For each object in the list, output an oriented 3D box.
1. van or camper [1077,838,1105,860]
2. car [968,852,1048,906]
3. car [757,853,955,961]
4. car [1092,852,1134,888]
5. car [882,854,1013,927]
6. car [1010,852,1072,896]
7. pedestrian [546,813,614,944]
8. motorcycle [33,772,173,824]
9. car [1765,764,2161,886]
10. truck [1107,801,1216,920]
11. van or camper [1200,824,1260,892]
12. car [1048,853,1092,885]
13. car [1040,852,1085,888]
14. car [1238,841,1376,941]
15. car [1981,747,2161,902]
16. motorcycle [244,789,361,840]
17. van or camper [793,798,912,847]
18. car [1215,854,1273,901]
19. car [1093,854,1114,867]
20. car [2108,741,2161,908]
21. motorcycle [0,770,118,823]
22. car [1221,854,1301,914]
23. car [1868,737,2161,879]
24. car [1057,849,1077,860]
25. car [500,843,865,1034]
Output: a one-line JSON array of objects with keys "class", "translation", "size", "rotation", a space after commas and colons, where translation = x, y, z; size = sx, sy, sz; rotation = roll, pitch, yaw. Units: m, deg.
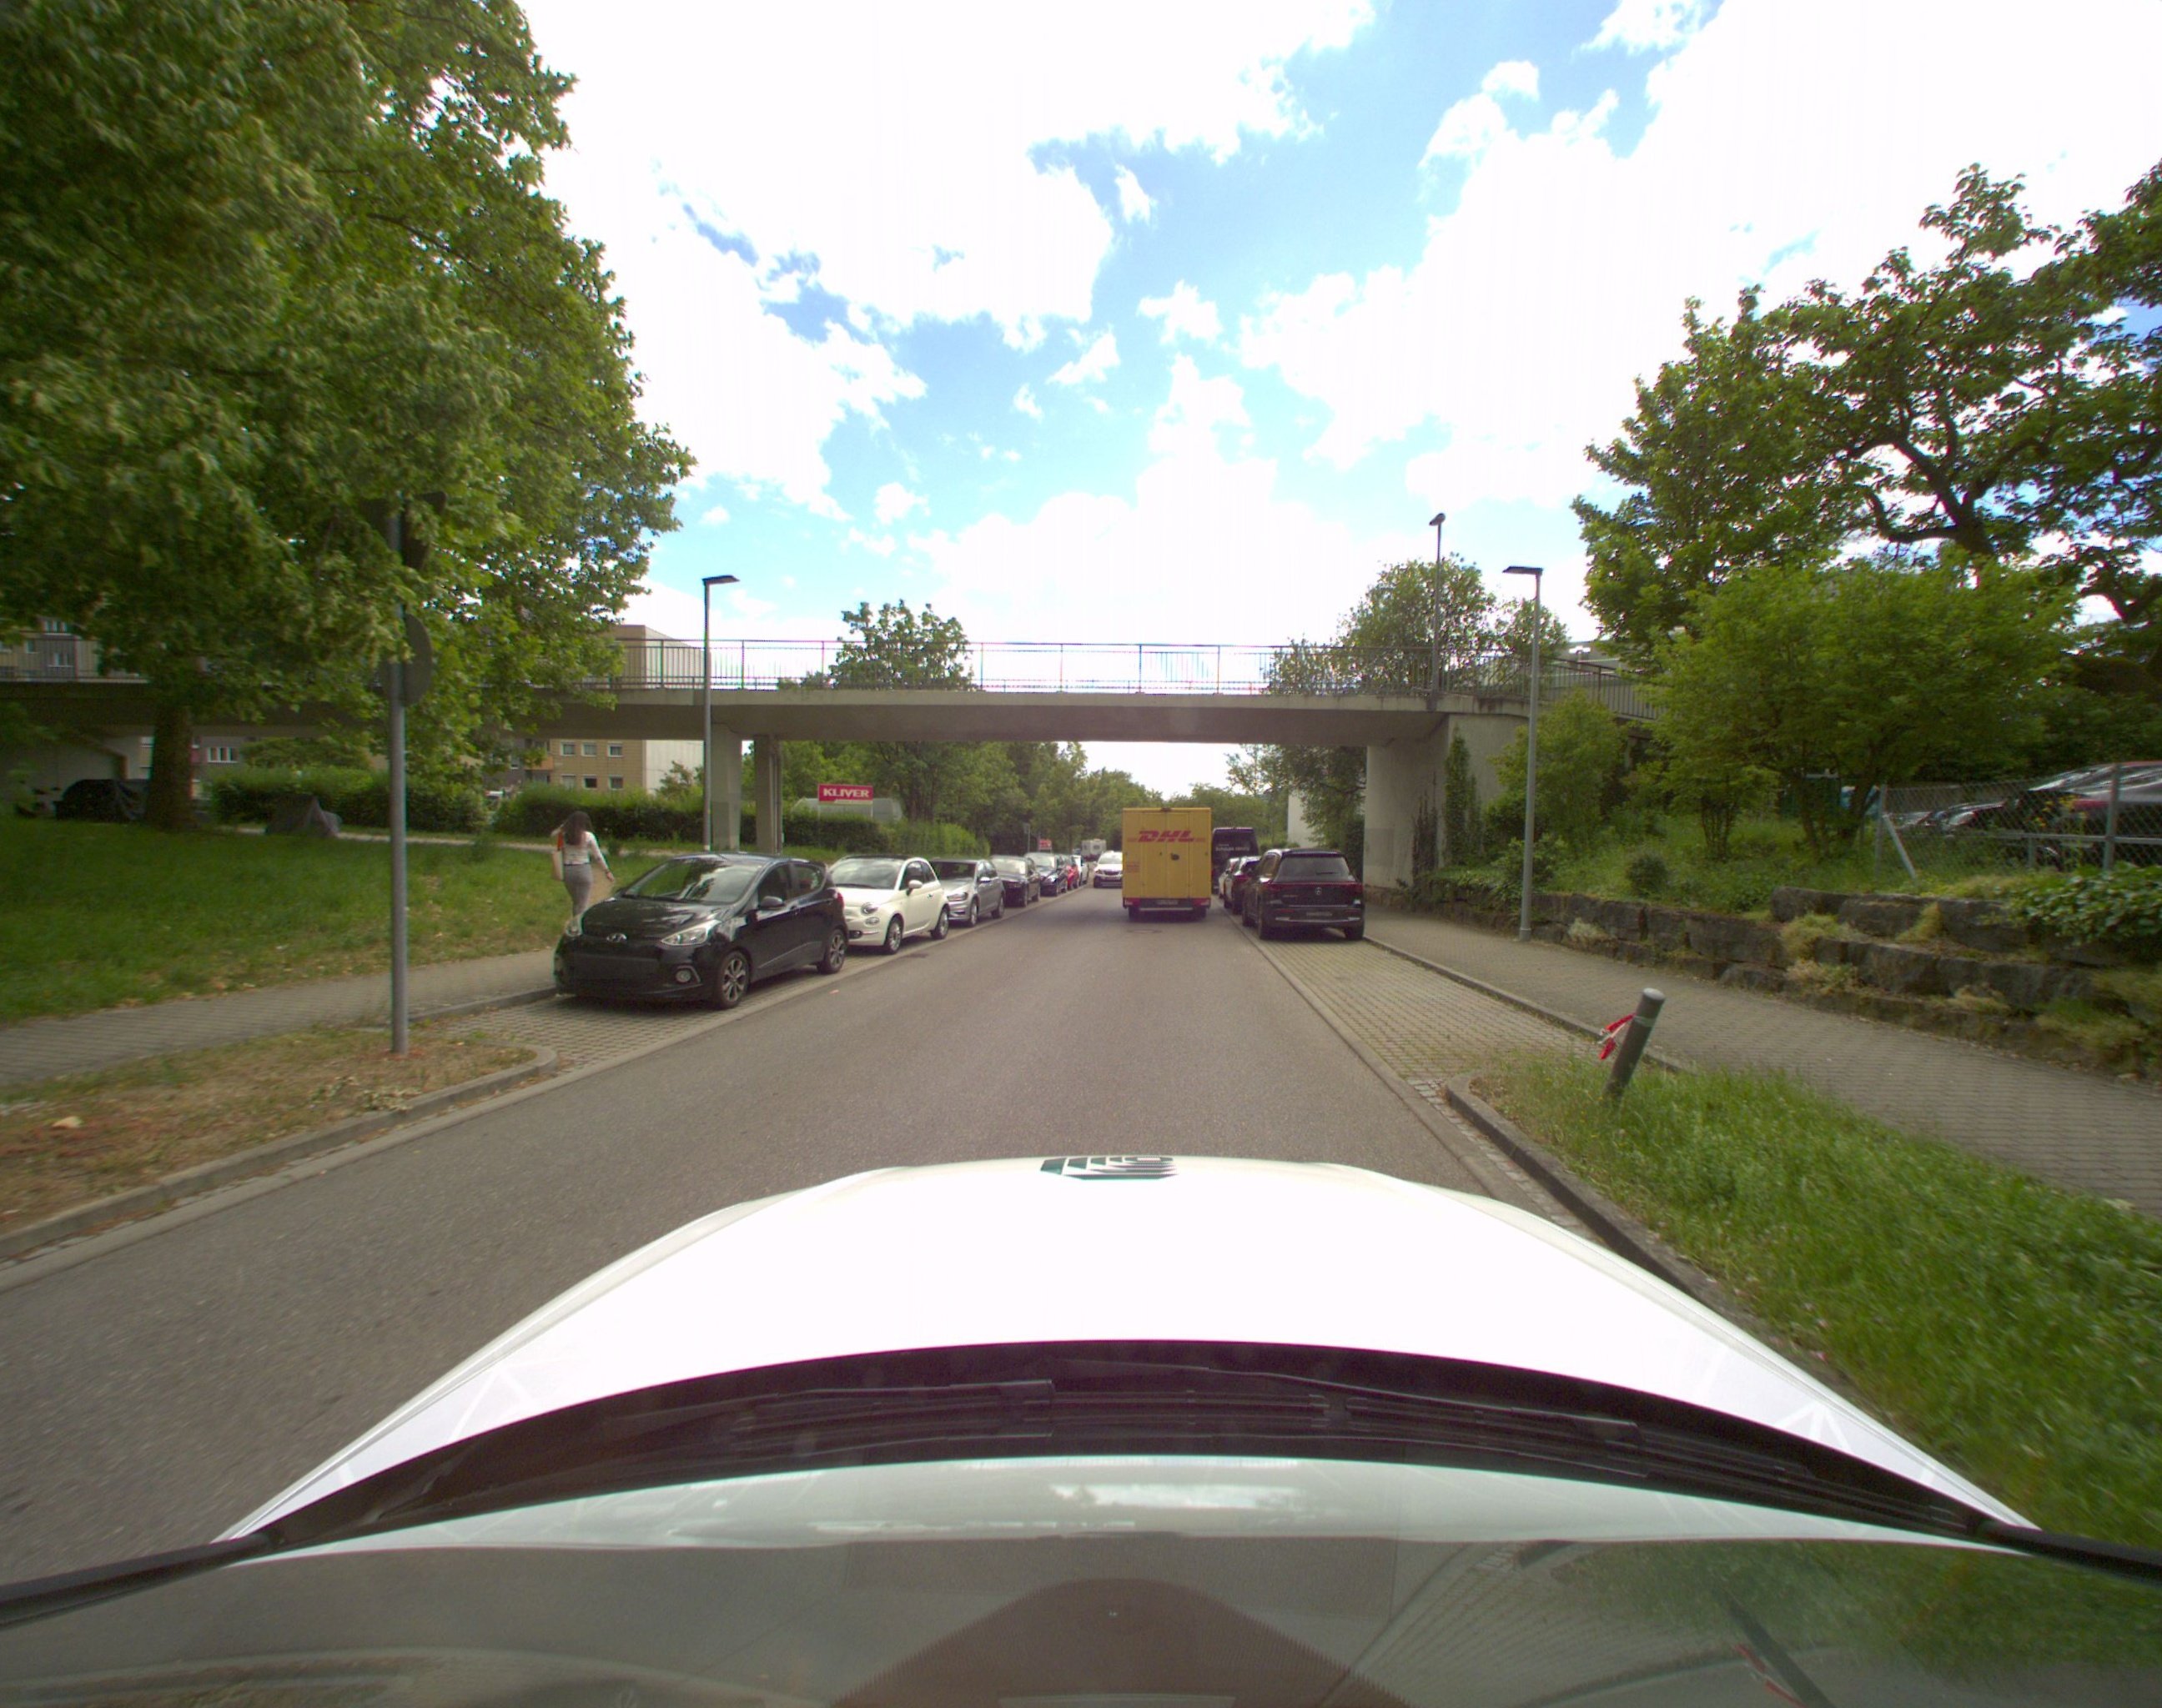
[{"class": "van or camper", "translation": [1.328, -0.657, 110.283], "size": [2.329, 2.872, 5.231], "rotation": [1, 1, -17]}, {"class": "car", "translation": [-2.210, 0.713, 25.787], "size": [1.877, 1.509, 4.455], "rotation": [2, 0, 3]}, {"class": "car", "translation": [-3.519, 0.756, 13.490], "size": [1.875, 1.460, 3.553], "rotation": [2, 0, 7]}, {"class": "car", "translation": [1.585, 0.719, 39.034], "size": [1.739, 1.611, 4.059], "rotation": [0, 0, 6]}, {"class": "car", "translation": [-2.911, 0.748, 18.675], "size": [1.874, 1.427, 4.008], "rotation": [2, 0, 7]}, {"class": "car", "translation": [-1.483, 0.721, 31.539], "size": [1.876, 1.559, 3.843], "rotation": [2, 0, 5]}, {"class": "pedestrian", "translation": [-6.876, 0.312, 11.170], "size": [0.742, 1.721, 0.653], "rotation": [1, 1, -34]}, {"class": "motorcycle", "translation": [-25.875, -1.449, 21.630], "size": [0.880, 1.270, 2.317], "rotation": [1, 1, 2]}, {"class": "car", "translation": [13.878, -0.458, 12.724], "size": [4.502, 1.668, 1.956], "rotation": [2, 1, 26]}, {"class": "truck", "translation": [2.170, 0.150, 22.165], "size": [2.454, 2.702, 6.834], "rotation": [-1, 0, 5]}, {"class": "van or camper", "translation": [6.084, 0.172, 33.707], "size": [1.983, 2.523, 5.480], "rotation": [-1, -1, 6]}, {"class": "car", "translation": [-0.489, 0.713, 40.484], "size": [1.666, 1.436, 3.976], "rotation": [2, 0, 6]}, {"class": "car", "translation": [-0.775, 0.687, 35.924], "size": [1.520, 1.506, 2.718], "rotation": [2, 0, 7]}, {"class": "car", "translation": [4.235, 0.652, 15.922], "size": [1.805, 1.678, 4.375], "rotation": [0, -1, 5]}, {"class": "car", "translation": [11.901, -0.251, 8.061], "size": [3.616, 1.498, 1.695], "rotation": [2, 1, 28]}, {"class": "motorcycle", "translation": [-20.641, -1.034, 21.639], "size": [0.876, 1.270, 2.058], "rotation": [2, 1, 24]}, {"class": "van or camper", "translation": [-10.476, -1.452, 37.536], "size": [4.837, 2.085, 2.001], "rotation": [1, 1, 1]}, {"class": "car", "translation": [5.499, 0.745, 27.801], "size": [1.555, 1.496, 3.335], "rotation": [0, 0, 4]}, {"class": "car", "translation": [2.873, 0.776, 103.435], "size": [1.844, 1.530, 3.986], "rotation": [1, 1, -11]}, {"class": "car", "translation": [10.746, -0.186, 5.872], "size": [3.752, 1.421, 1.695], "rotation": [2, 1, 28]}, {"class": "motorcycle", "translation": [-26.972, -1.467, 21.245], "size": [0.880, 1.270, 2.317], "rotation": [1, 1, 2]}, {"class": "car", "translation": [4.874, 0.758, 22.488], "size": [1.691, 1.496, 4.125], "rotation": [0, 0, 6]}, {"class": "car", "translation": [12.877, -0.533, 10.153], "size": [3.951, 1.613, 1.956], "rotation": [2, 1, 26]}, {"class": "car", "translation": [-2.095, 0.087, 122.520], "size": [1.849, 1.530, 3.975], "rotation": [1, 1, -19]}, {"class": "car", "translation": [-3.971, 0.696, 9.007], "size": [1.779, 1.467, 4.004], "rotation": [4, 2, 3]}]
